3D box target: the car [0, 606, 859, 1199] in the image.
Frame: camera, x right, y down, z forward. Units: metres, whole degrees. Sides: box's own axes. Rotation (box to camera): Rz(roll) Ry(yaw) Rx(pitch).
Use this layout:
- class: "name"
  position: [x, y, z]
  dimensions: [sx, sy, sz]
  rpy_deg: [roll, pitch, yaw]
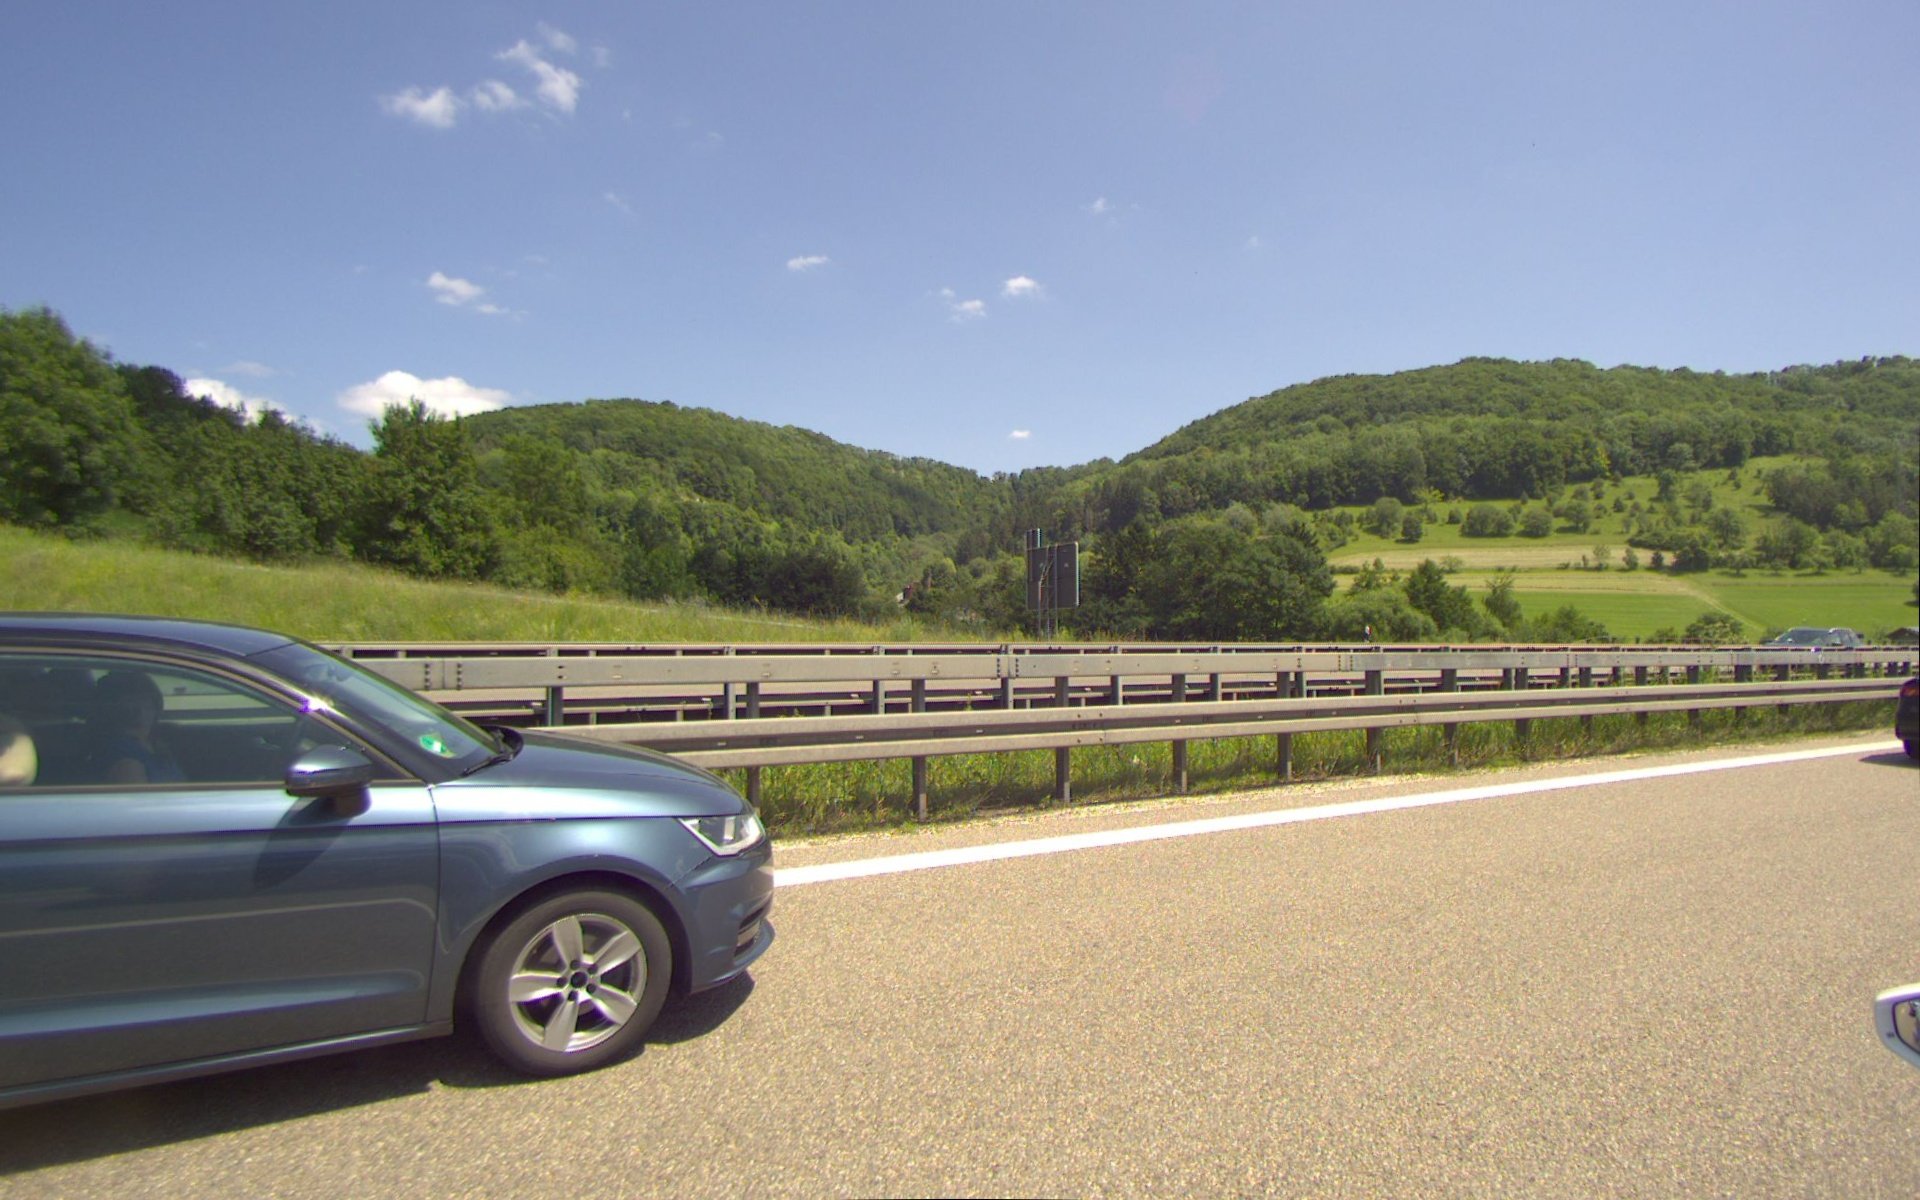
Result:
- class: "car"
  position: [-2.479, 0.737, 3.242]
  dimensions: [3.953, 1.407, 1.680]
  rpy_deg: [1, -1, -31]

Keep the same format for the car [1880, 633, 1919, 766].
- class: "car"
  position: [12.591, 1.114, 11.431]
  dimensions: [4.911, 1.409, 1.792]
  rpy_deg: [2, -1, -31]

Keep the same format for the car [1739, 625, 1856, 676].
- class: "car"
  position: [28.689, 1.691, 34.379]
  dimensions: [4.031, 1.631, 1.840]
  rpy_deg: [1, -1, -30]
